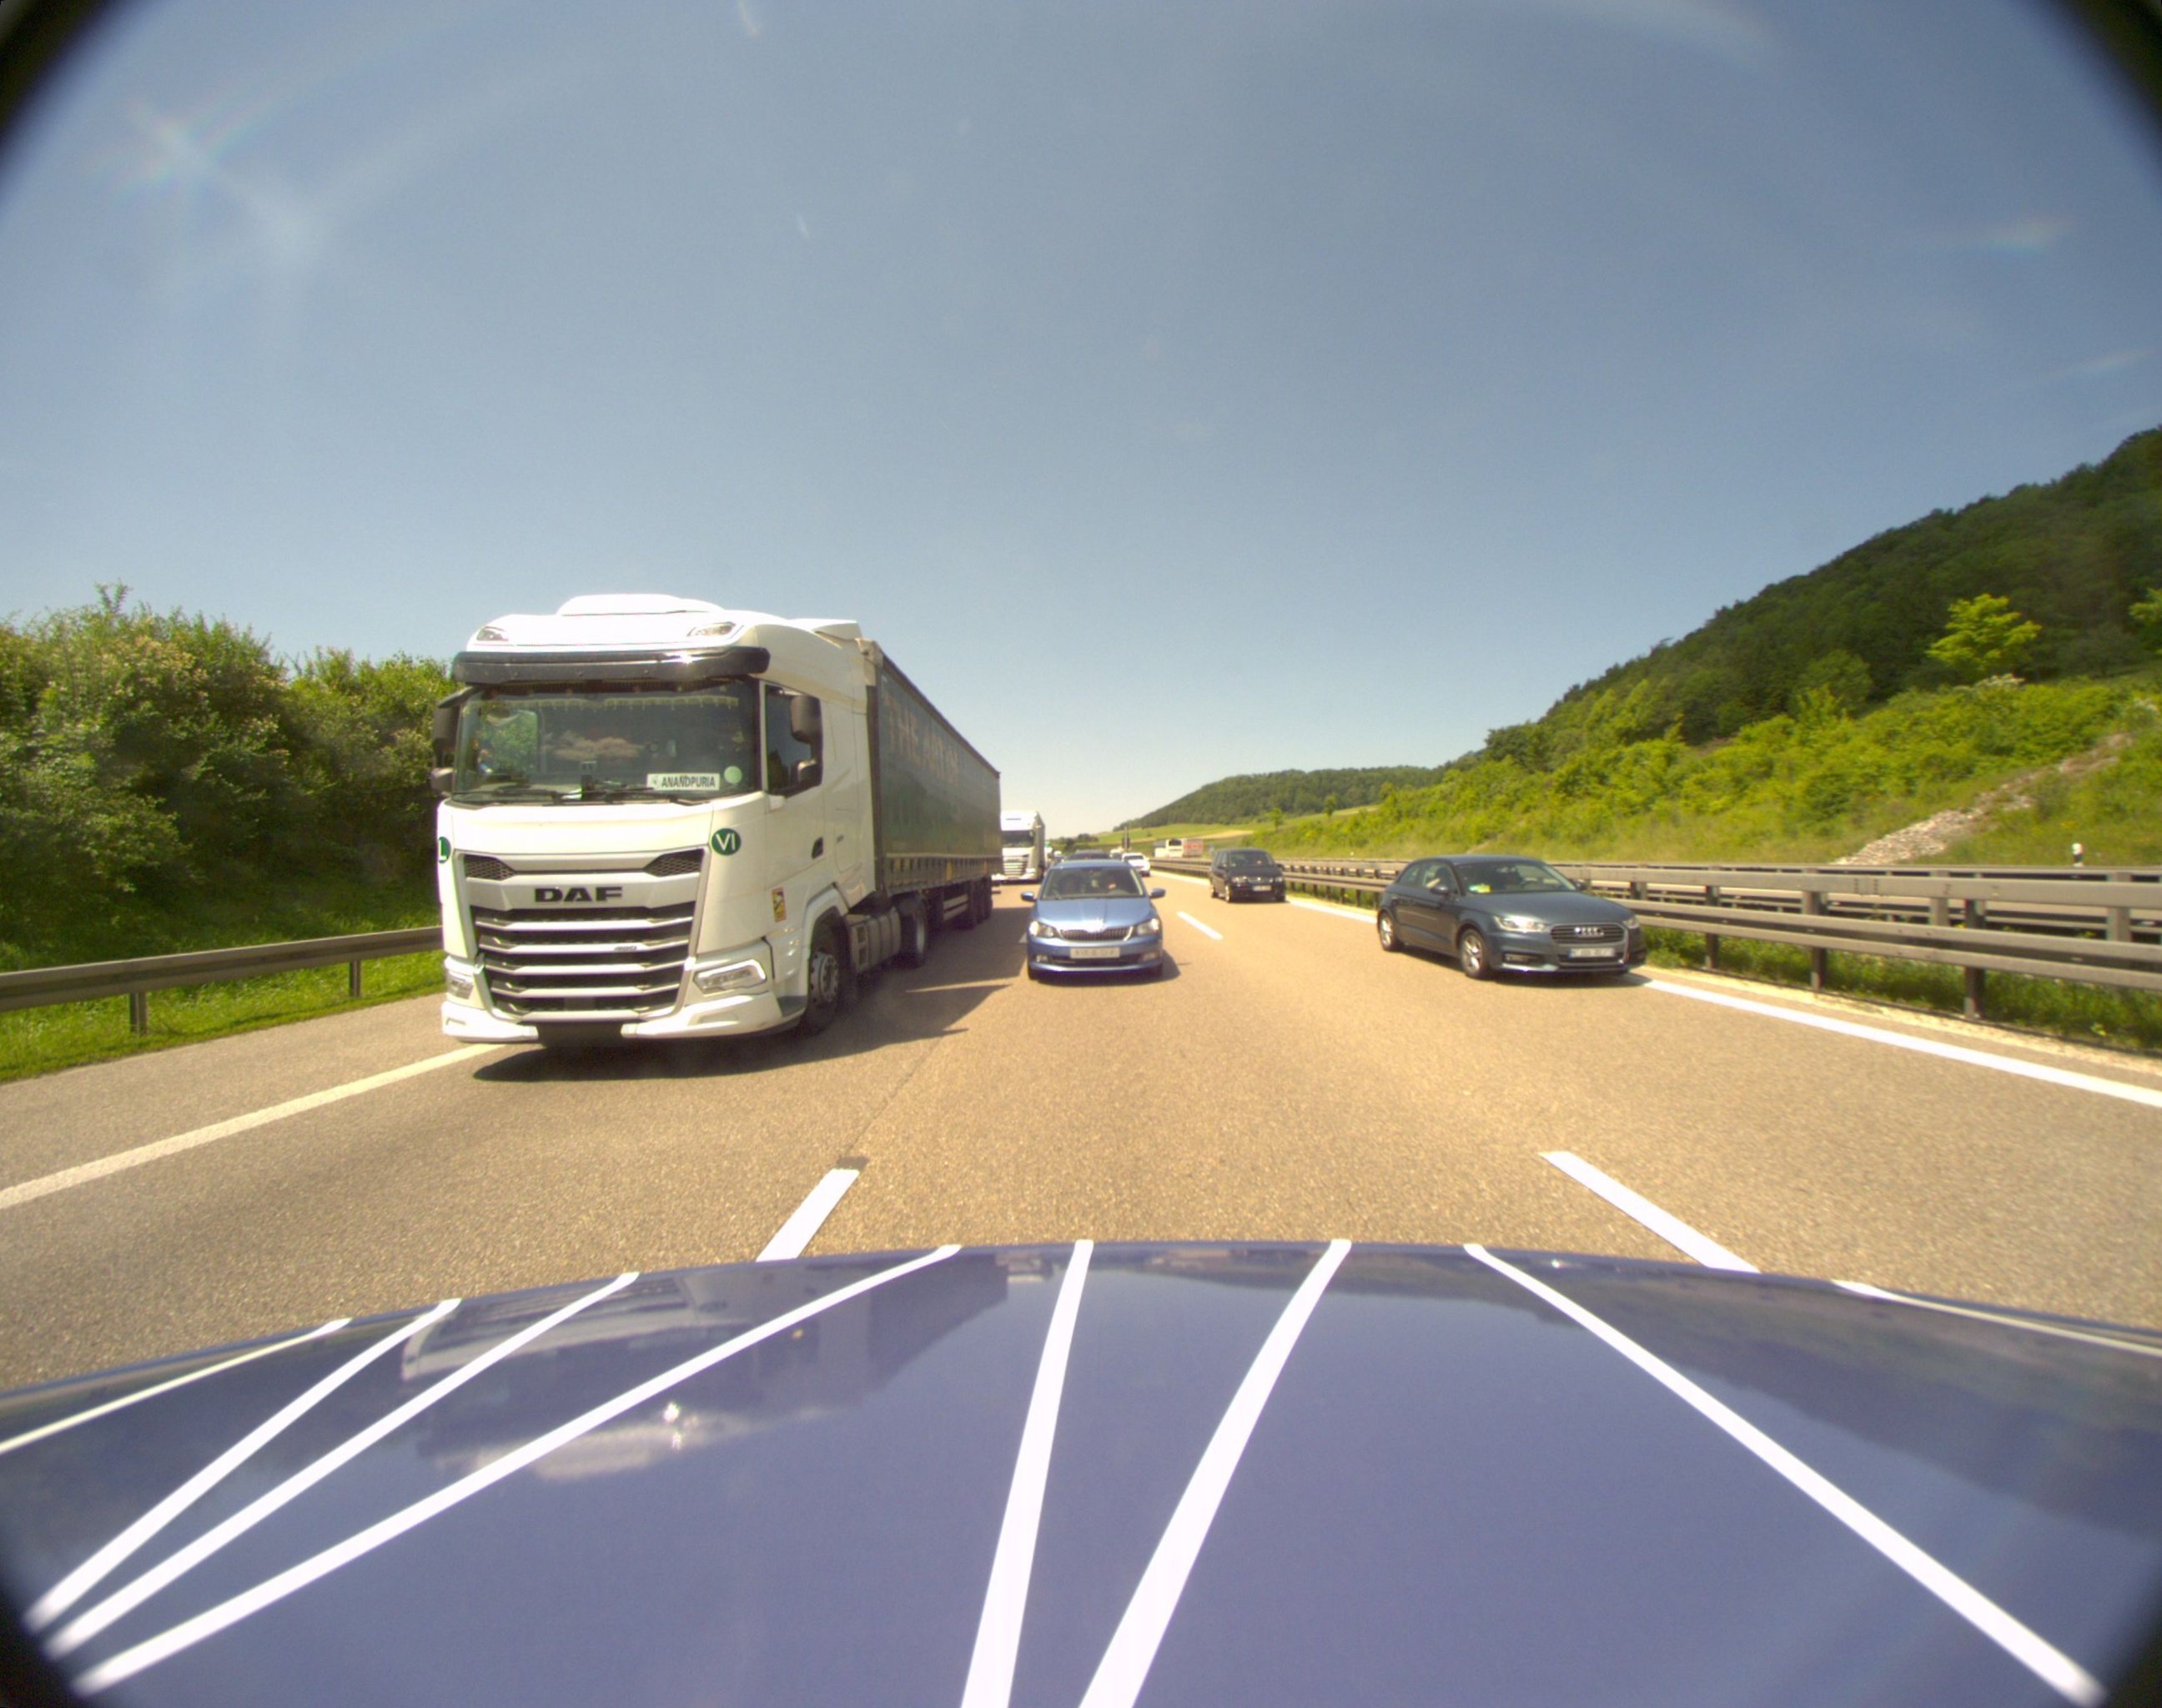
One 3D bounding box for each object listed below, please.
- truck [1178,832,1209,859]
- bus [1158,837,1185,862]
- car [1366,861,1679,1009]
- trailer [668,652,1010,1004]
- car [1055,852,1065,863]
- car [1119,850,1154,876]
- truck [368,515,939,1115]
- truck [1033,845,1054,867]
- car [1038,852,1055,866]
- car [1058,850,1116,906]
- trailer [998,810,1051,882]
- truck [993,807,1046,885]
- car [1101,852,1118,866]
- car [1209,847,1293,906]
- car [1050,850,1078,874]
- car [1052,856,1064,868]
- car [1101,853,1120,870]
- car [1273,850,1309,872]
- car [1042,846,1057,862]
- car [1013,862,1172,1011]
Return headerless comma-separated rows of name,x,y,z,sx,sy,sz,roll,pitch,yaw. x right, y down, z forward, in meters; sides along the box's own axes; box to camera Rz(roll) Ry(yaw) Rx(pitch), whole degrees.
truck,18.302,-1.330,124.479,3.626,4.079,9.922,-1,0,1
bus,14.417,-0.729,122.120,2.686,3.640,14.816,-1,0,1
car,5.103,0.822,9.495,1.692,1.380,4.000,-1,0,2
trailer,-3.395,-0.319,15.485,2.484,3.954,13.654,-1,0,0
car,-4.328,0.687,156.848,1.998,2.002,3.999,-2,1,1
car,3.640,0.596,50.794,1.998,1.612,3.999,-2,1,0
truck,-3.440,-0.262,8.262,2.484,3.954,6.380,-1,0,0
truck,-4.040,0.152,82.922,1.835,2.267,6.594,-2,1,1
car,-4.196,0.602,92.878,1.778,1.655,3.999,-2,1,1
car,0.268,0.732,25.541,1.736,1.674,4.198,-1,0,3
trailer,-3.540,-0.546,50.772,2.544,4.085,13.625,-2,1,-1
truck,-3.434,-0.477,43.736,2.531,4.065,6.078,-2,1,-1
car,3.723,0.619,97.434,1.998,1.702,4.001,-2,1,4
car,5.162,0.630,23.592,1.805,1.625,4.447,-1,0,3
car,-1.308,0.607,59.575,1.998,1.702,3.999,-2,1,1
car,-4.001,1.376,132.949,1.998,2.002,3.999,-2,1,1
car,3.350,0.784,85.104,1.998,1.702,4.001,-2,1,4
car,18.054,0.568,65.609,1.998,1.702,3.999,-2,1,1
car,-4.491,-0.013,107.964,1.778,2.177,3.999,-2,1,1
car,0.159,0.904,10.407,1.660,1.481,4.653,-1,0,1
